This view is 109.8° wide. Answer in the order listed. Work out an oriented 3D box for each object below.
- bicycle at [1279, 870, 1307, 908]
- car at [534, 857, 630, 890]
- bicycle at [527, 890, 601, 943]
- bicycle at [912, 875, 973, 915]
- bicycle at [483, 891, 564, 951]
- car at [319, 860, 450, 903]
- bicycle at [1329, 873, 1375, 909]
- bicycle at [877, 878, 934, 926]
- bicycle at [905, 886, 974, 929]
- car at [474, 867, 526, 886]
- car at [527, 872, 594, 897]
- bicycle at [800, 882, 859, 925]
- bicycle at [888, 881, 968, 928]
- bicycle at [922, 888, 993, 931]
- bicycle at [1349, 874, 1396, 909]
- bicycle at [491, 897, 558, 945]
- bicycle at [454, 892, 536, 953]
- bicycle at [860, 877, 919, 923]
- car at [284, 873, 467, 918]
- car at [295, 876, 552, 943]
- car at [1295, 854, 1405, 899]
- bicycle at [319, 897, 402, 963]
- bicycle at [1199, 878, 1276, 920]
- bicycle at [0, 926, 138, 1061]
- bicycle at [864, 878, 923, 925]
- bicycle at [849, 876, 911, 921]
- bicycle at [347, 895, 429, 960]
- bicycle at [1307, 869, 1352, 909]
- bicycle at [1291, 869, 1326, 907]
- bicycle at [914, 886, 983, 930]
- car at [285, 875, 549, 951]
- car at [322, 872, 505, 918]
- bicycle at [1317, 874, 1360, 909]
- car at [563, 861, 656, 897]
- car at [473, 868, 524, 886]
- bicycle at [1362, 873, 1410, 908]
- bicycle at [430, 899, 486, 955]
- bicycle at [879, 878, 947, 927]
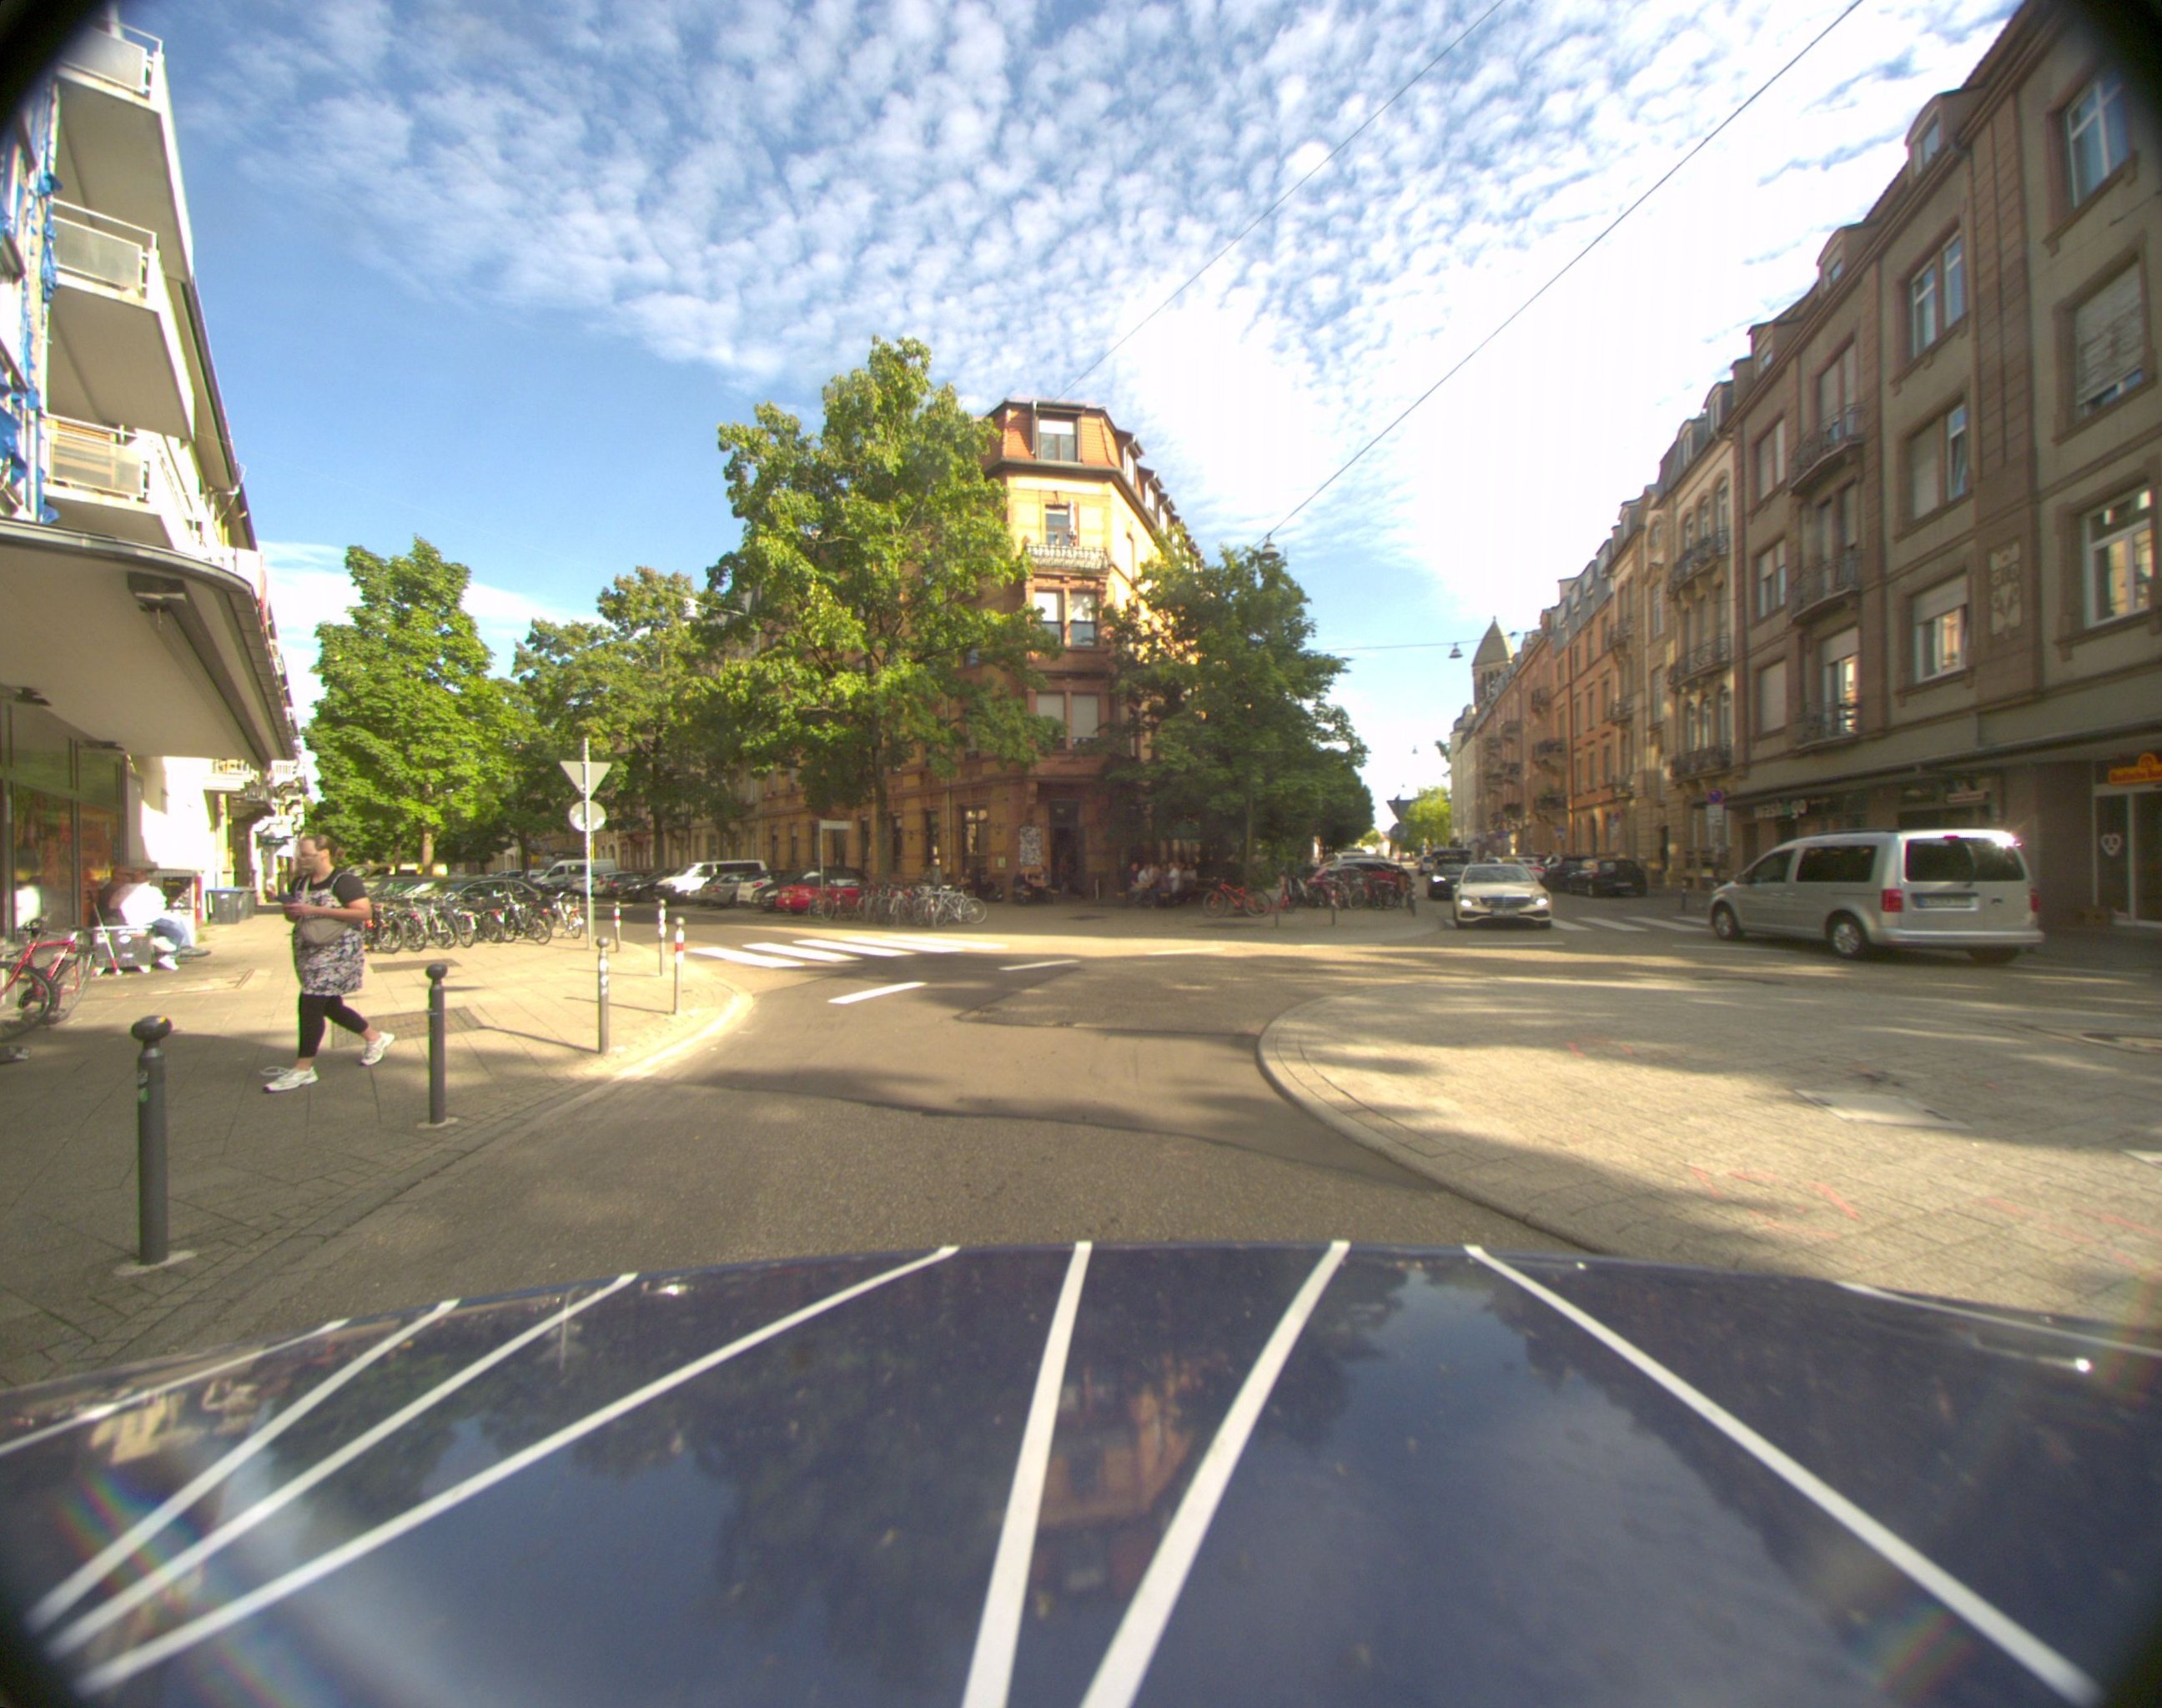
[{"bbox_3d":[6.570,1.063,23.608,0.434,1.094,1.675,1,1,1],"label":"bicycle"},{"bbox_3d":[-36.028,1.368,54.989,5.493,2.188,1.995,-1,-1,-43],"label":"car"},{"bbox_3d":[-11.765,1.404,17.284,1.849,1.169,0.414,-1,-1,21],"label":"bicycle"},{"bbox_3d":[-4.340,1.276,23.899,1.803,1.108,0.598,-3,2,-40],"label":"bicycle"},{"bbox_3d":[-11.495,1.365,15.658,1.849,1.169,0.414,-1,-1,21],"label":"bicycle"},{"bbox_3d":[-37.659,1.469,41.283,2.144,2.207,4.817,-2,-1,15],"label":"car"},{"bbox_3d":[8.401,1.131,23.619,0.472,0.979,1.863,1,1,-10],"label":"bicycle"},{"bbox_3d":[-4.939,1.326,21.489,0.447,1.195,1.715,0,2,32],"label":"bicycle"},{"bbox_3d":[-3.741,1.396,20.171,1.715,0.981,0.447,-3,2,-31],"label":"bicycle"},{"bbox_3d":[-60.497,2.336,79.155,4.008,1.721,1.825,-1,-1,-45],"label":"car"},{"bbox_3d":[-41.702,2.433,60.970,4.134,1.862,1.995,-1,-1,-43],"label":"car"},{"bbox_3d":[-7.427,1.419,22.354,0.583,1.090,2.493,-6,4,-43],"label":"bicycle"},{"bbox_3d":[-4.115,1.342,20.469,2.048,1.082,0.447,-3,2,-31],"label":"bicycle"},{"bbox_3d":[-3.163,1.404,19.488,1.715,0.964,0.447,-3,2,-31],"label":"bicycle"},{"bbox_3d":[9.092,1.153,23.759,0.472,0.979,1.863,1,1,-10],"label":"bicycle"},{"bbox_3d":[-12.246,1.453,16.719,1.420,0.995,0.494,-1,-1,21],"label":"bicycle"},{"bbox_3d":[-11.871,1.366,15.383,1.849,1.169,0.414,-1,-1,21],"label":"bicycle"},{"bbox_3d":[-5.598,1.325,22.280,0.447,1.195,1.715,0,2,38],"label":"bicycle"},{"bbox_3d":[-25.653,1.453,27.864,1.747,1.486,4.637,-2,-2,19],"label":"car"},{"bbox_3d":[-16.223,1.301,19.168,1.953,1.446,4.671,-1,-1,11],"label":"car"},{"bbox_3d":[10.092,0.823,28.699,3.585,1.606,1.513,1,0,-2],"label":"car"},{"bbox_3d":[-12.928,1.338,13.618,1.694,1.079,0.422,0,0,23],"label":"bicycle"},{"bbox_3d":[4.047,1.138,19.664,1.853,1.029,0.685,0,0,21],"label":"bicycle"},{"bbox_3d":[-9.525,1.236,7.015,0.584,1.026,1.531,1,-1,-34],"label":"bicycle"},{"bbox_3d":[-5.370,1.334,21.842,0.447,1.195,1.715,0,2,38],"label":"bicycle"},{"bbox_3d":[-5.985,1.316,22.665,1.715,1.195,0.447,-3,2,-40],"label":"bicycle"},{"bbox_3d":[-12.695,1.329,13.918,1.694,1.079,0.422,0,0,23],"label":"bicycle"},{"bbox_3d":[7.592,1.050,23.296,0.475,1.136,1.837,1,1,-10],"label":"bicycle"},{"bbox_3d":[7.066,1.046,23.653,0.475,1.094,1.674,1,1,-3],"label":"bicycle"},{"bbox_3d":[-3.446,1.397,19.845,1.715,0.981,0.447,-3,2,-31],"label":"bicycle"},{"bbox_3d":[-14.482,1.194,16.850,1.806,1.446,4.009,0,-1,28],"label":"car"},{"bbox_3d":[-23.559,1.393,27.070,1.747,1.486,4.637,-2,-2,19],"label":"car"},{"bbox_3d":[7.920,1.132,23.455,0.418,0.979,1.837,1,1,-10],"label":"bicycle"},{"bbox_3d":[-29.180,1.506,47.121,1.931,1.823,4.467,-1,3,43],"label":"car"},{"bbox_3d":[-62.021,2.424,80.945,4.008,1.721,1.825,-1,-1,-45],"label":"car"},{"bbox_3d":[9.540,1.130,23.812,0.472,0.979,1.863,1,1,-10],"label":"bicycle"},{"bbox_3d":[-12.184,1.402,14.845,1.498,1.012,0.414,-1,-1,33],"label":"bicycle"},{"bbox_3d":[-4.603,1.317,20.847,1.715,1.195,0.447,-3,2,-31],"label":"bicycle"}]
